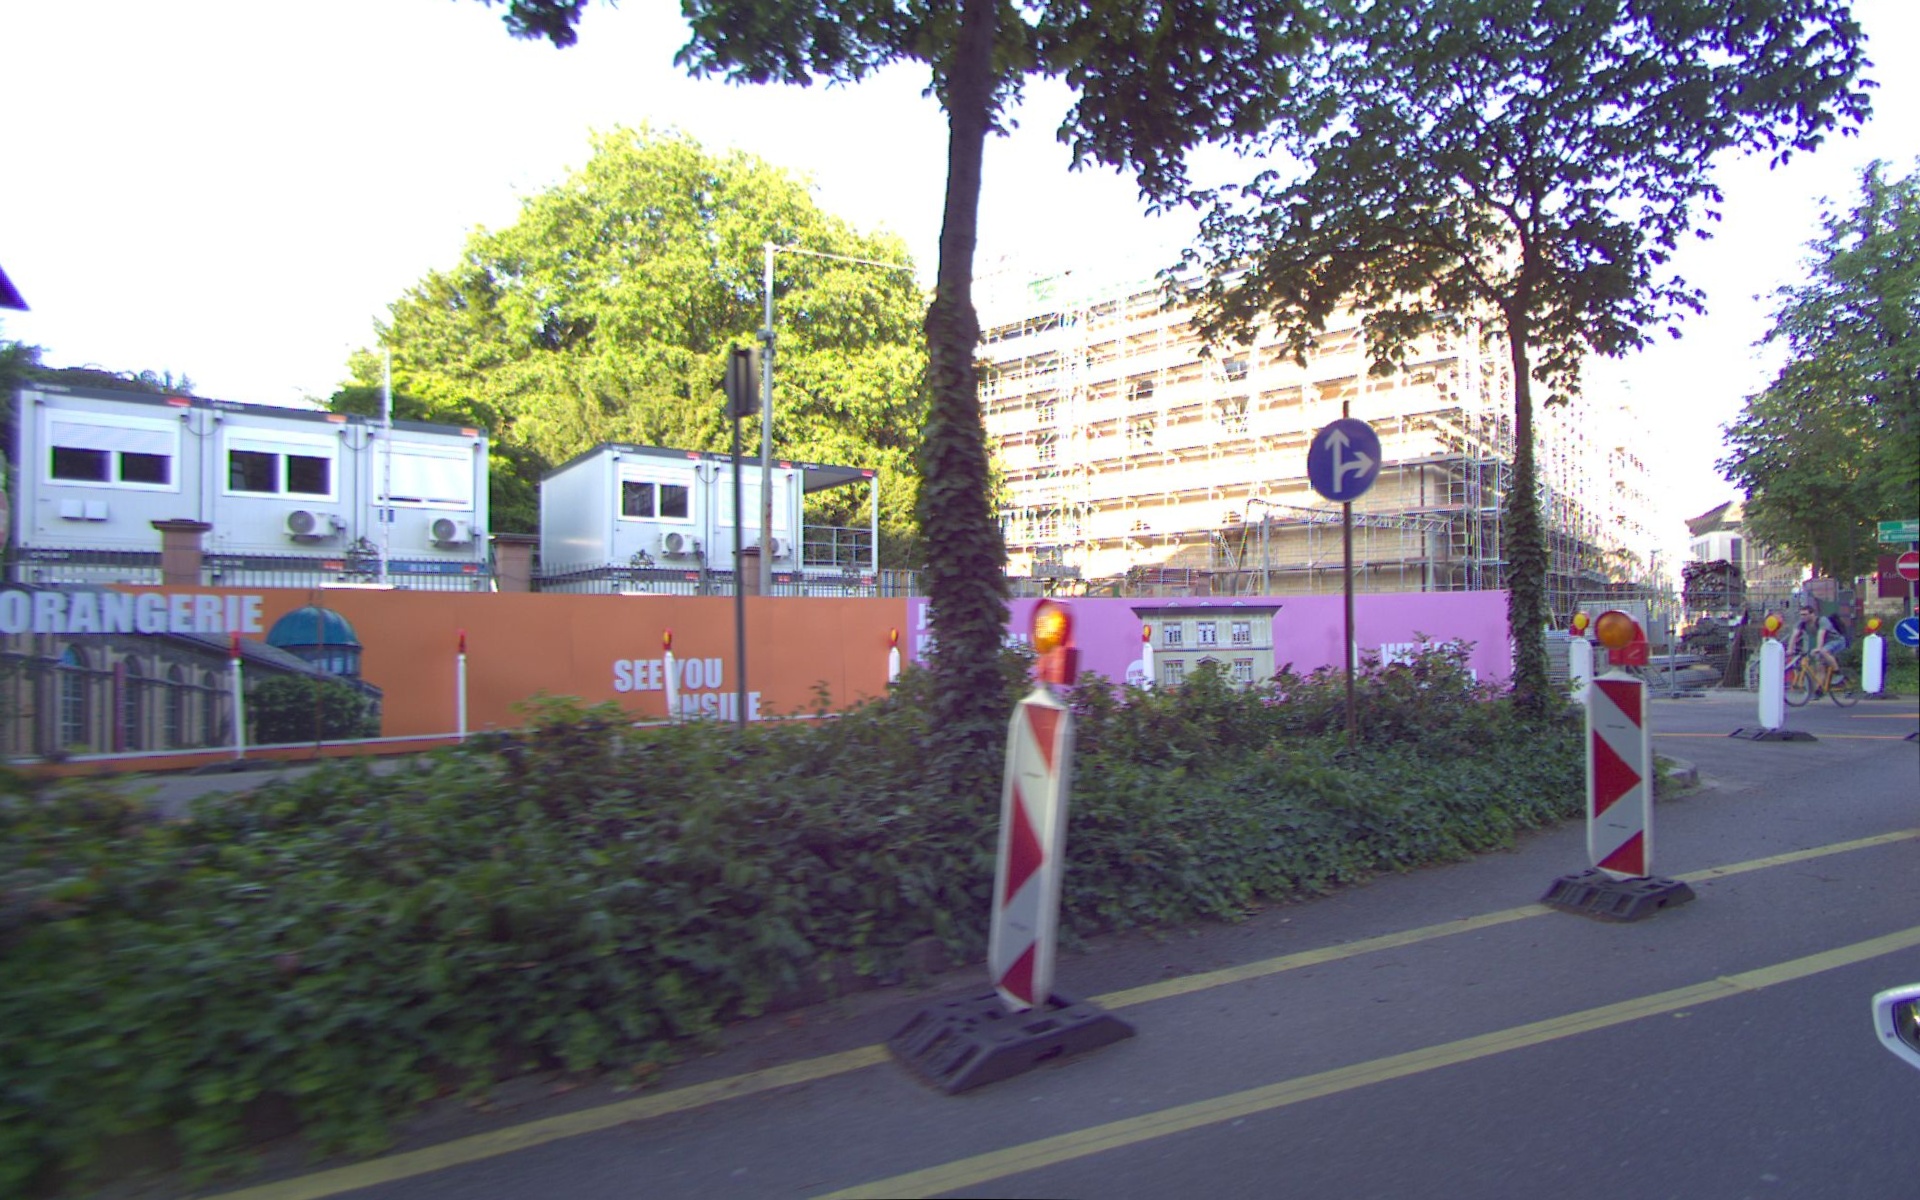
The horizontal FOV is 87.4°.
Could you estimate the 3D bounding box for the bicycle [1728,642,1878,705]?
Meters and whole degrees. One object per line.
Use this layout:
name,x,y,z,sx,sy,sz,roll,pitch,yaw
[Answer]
bicycle,14.606,1.260,17.429,2.080,1.051,0.762,0,-1,-6

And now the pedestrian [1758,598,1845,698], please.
pedestrian,14.604,0.824,17.444,0.878,1.696,0.737,0,-1,-5
